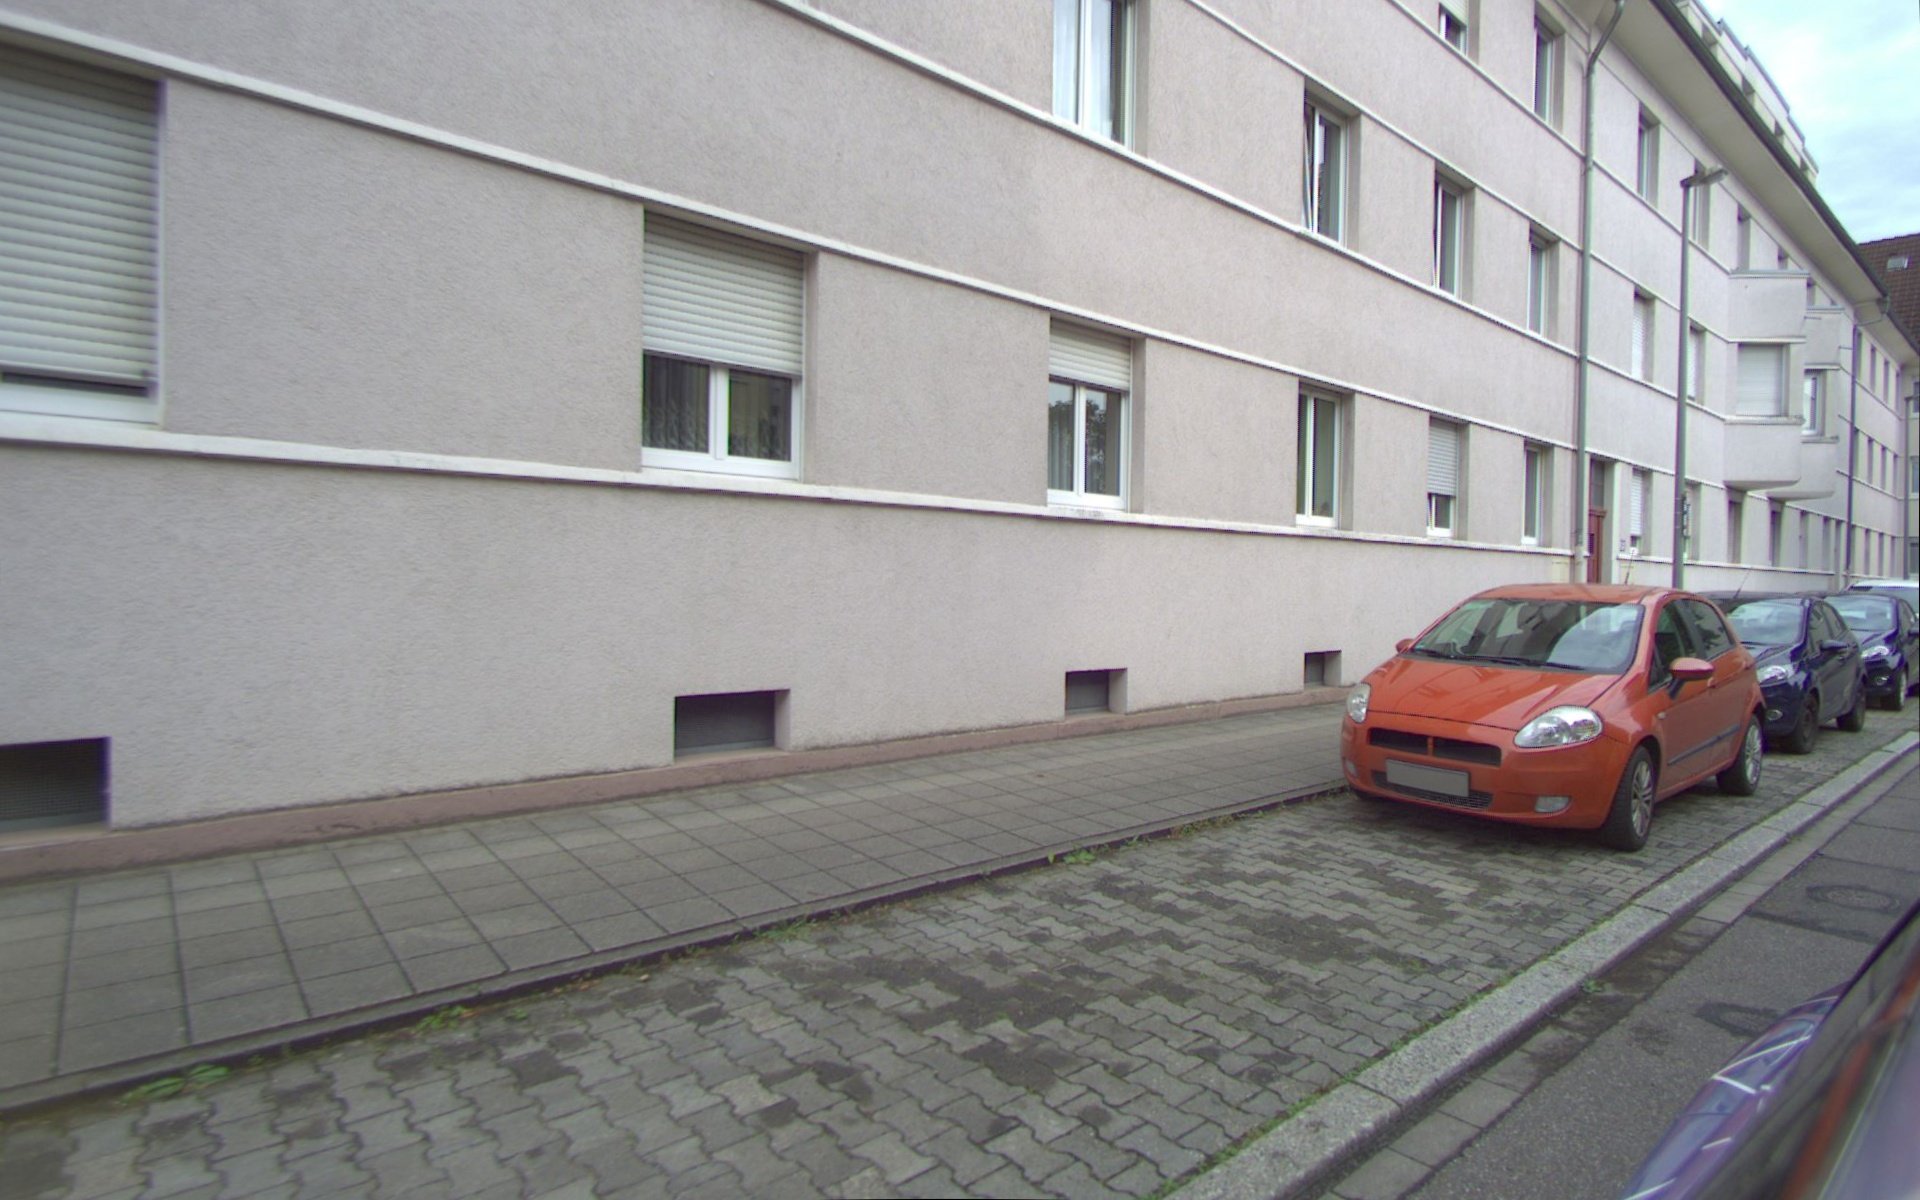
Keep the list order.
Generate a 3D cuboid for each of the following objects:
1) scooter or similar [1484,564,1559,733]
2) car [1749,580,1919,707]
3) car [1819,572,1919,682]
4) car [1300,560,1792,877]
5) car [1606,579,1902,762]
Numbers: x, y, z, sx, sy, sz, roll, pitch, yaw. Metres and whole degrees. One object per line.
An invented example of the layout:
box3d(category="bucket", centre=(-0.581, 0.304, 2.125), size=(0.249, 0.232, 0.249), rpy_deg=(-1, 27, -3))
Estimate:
box3d(category="scooter or similar", centre=(6.904, 0.594, 12.458), size=(0.665, 2.039, 0.346), rpy_deg=(-1, -1, -1))
box3d(category="car", centre=(12.395, 0.510, 13.964), size=(3.801, 1.496, 1.571), rpy_deg=(0, 2, -39))
box3d(category="car", centre=(16.390, 0.418, 17.442), size=(4.216, 1.694, 1.845), rpy_deg=(0, 2, -42))
box3d(category="car", centre=(4.108, 0.555, 6.864), size=(3.758, 1.544, 1.700), rpy_deg=(0, 2, -40))
box3d(category="car", centre=(8.145, 0.581, 10.286), size=(3.629, 1.491, 1.571), rpy_deg=(0, 3, -39))
